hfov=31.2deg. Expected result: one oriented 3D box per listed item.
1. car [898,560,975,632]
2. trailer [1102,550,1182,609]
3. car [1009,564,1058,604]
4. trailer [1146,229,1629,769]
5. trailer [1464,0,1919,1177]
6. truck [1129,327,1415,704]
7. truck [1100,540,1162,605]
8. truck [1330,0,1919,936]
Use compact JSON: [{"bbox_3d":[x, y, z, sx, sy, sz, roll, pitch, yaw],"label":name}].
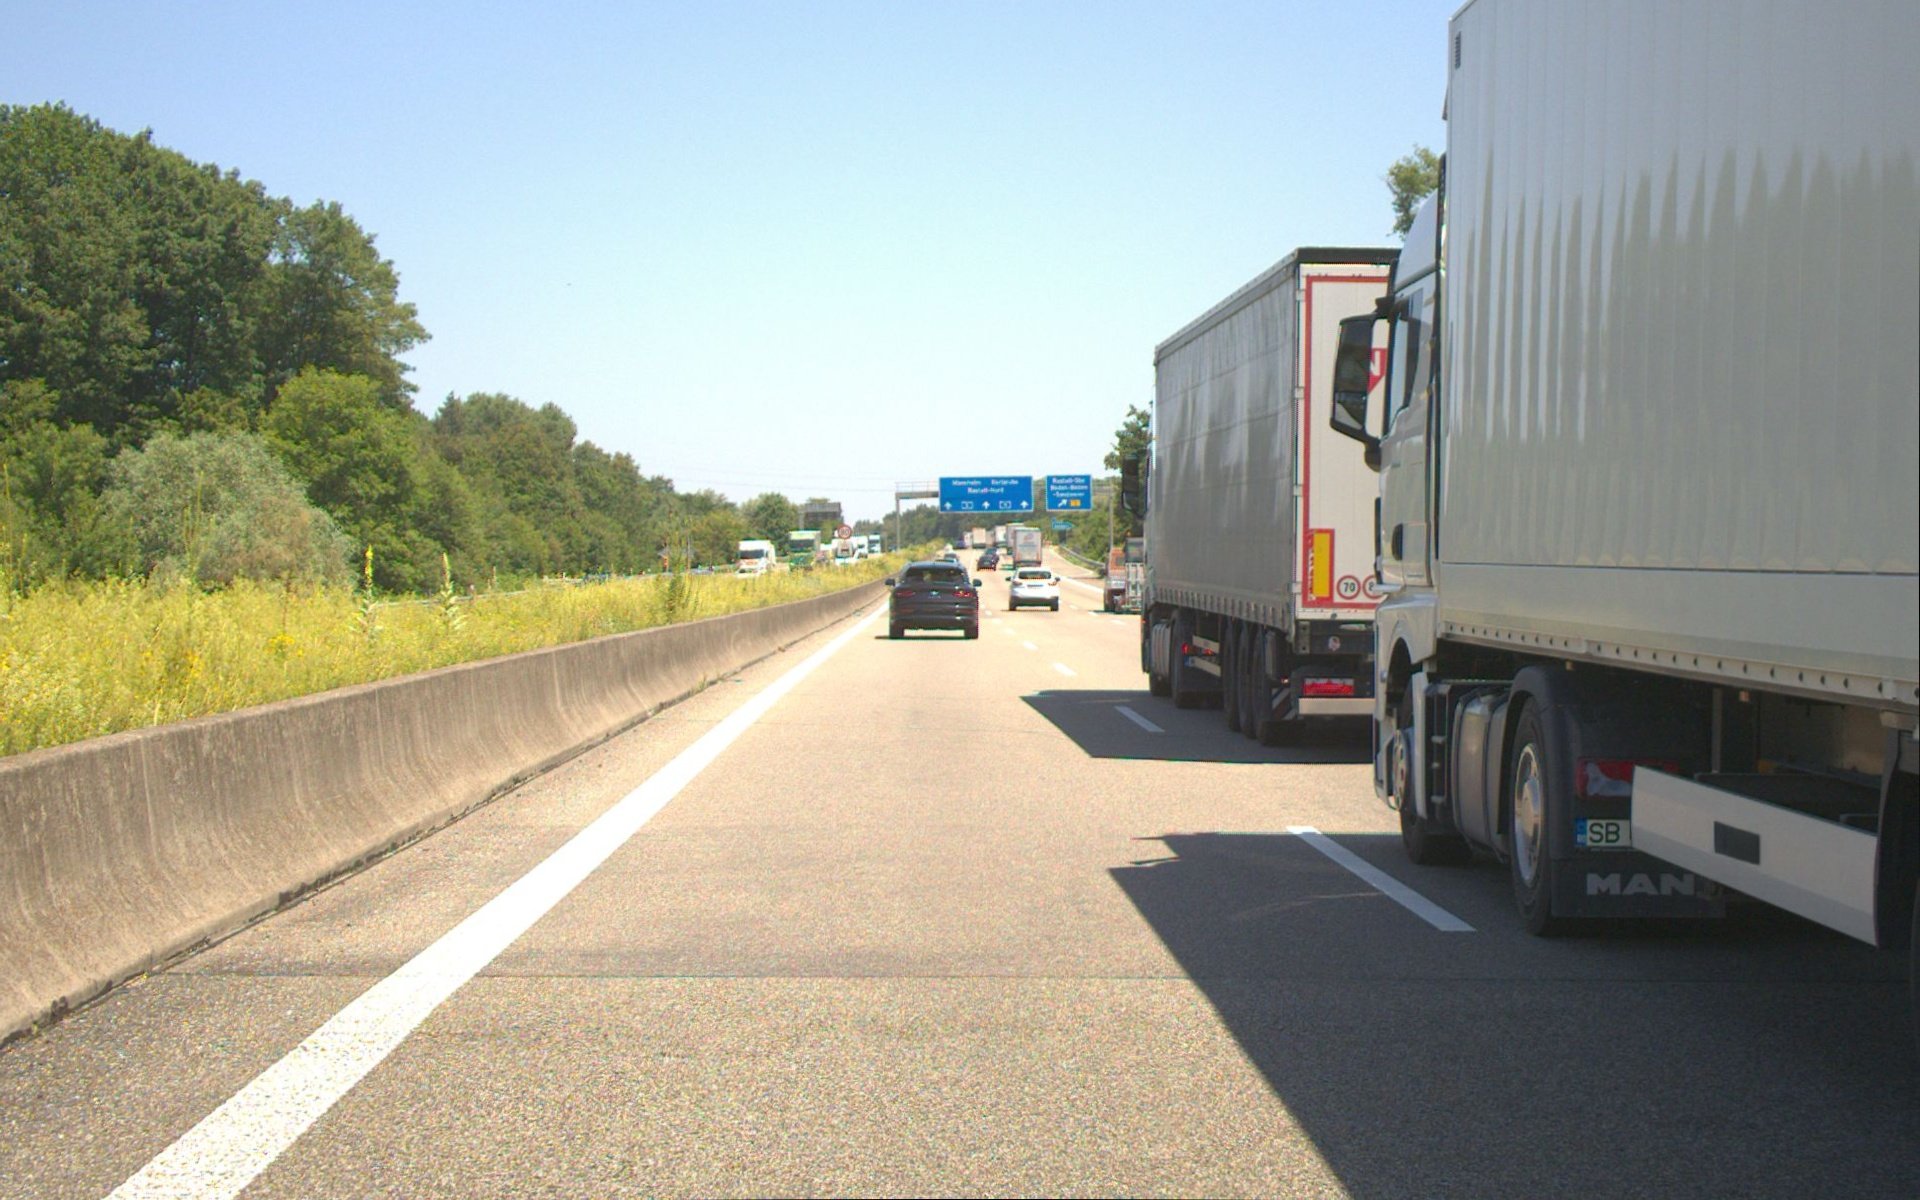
[{"bbox_3d":[-0.561,-0.108,77.405,1.660,1.544,3.783,0,1,-1],"label":"car"},{"bbox_3d":[6.500,-0.753,123.385,2.420,2.007,6.034,0,1,-1],"label":"trailer"},{"bbox_3d":[2.773,-0.609,130.703,1.740,1.481,4.000,0,1,0],"label":"car"},{"bbox_3d":[3.629,-0.852,33.393,2.707,4.054,14.747,1,1,0],"label":"trailer"},{"bbox_3d":[3.745,-0.598,8.830,2.794,4.021,12.568,0,1,-1],"label":"trailer"},{"bbox_3d":[3.564,-0.955,40.735,2.700,4.080,6.453,1,1,0],"label":"truck"},{"bbox_3d":[6.381,-1.044,128.729,1.993,2.365,4.645,0,1,-1],"label":"truck"},{"bbox_3d":[3.614,-0.670,16.934,2.799,3.993,6.021,0,1,-1],"label":"truck"}]
